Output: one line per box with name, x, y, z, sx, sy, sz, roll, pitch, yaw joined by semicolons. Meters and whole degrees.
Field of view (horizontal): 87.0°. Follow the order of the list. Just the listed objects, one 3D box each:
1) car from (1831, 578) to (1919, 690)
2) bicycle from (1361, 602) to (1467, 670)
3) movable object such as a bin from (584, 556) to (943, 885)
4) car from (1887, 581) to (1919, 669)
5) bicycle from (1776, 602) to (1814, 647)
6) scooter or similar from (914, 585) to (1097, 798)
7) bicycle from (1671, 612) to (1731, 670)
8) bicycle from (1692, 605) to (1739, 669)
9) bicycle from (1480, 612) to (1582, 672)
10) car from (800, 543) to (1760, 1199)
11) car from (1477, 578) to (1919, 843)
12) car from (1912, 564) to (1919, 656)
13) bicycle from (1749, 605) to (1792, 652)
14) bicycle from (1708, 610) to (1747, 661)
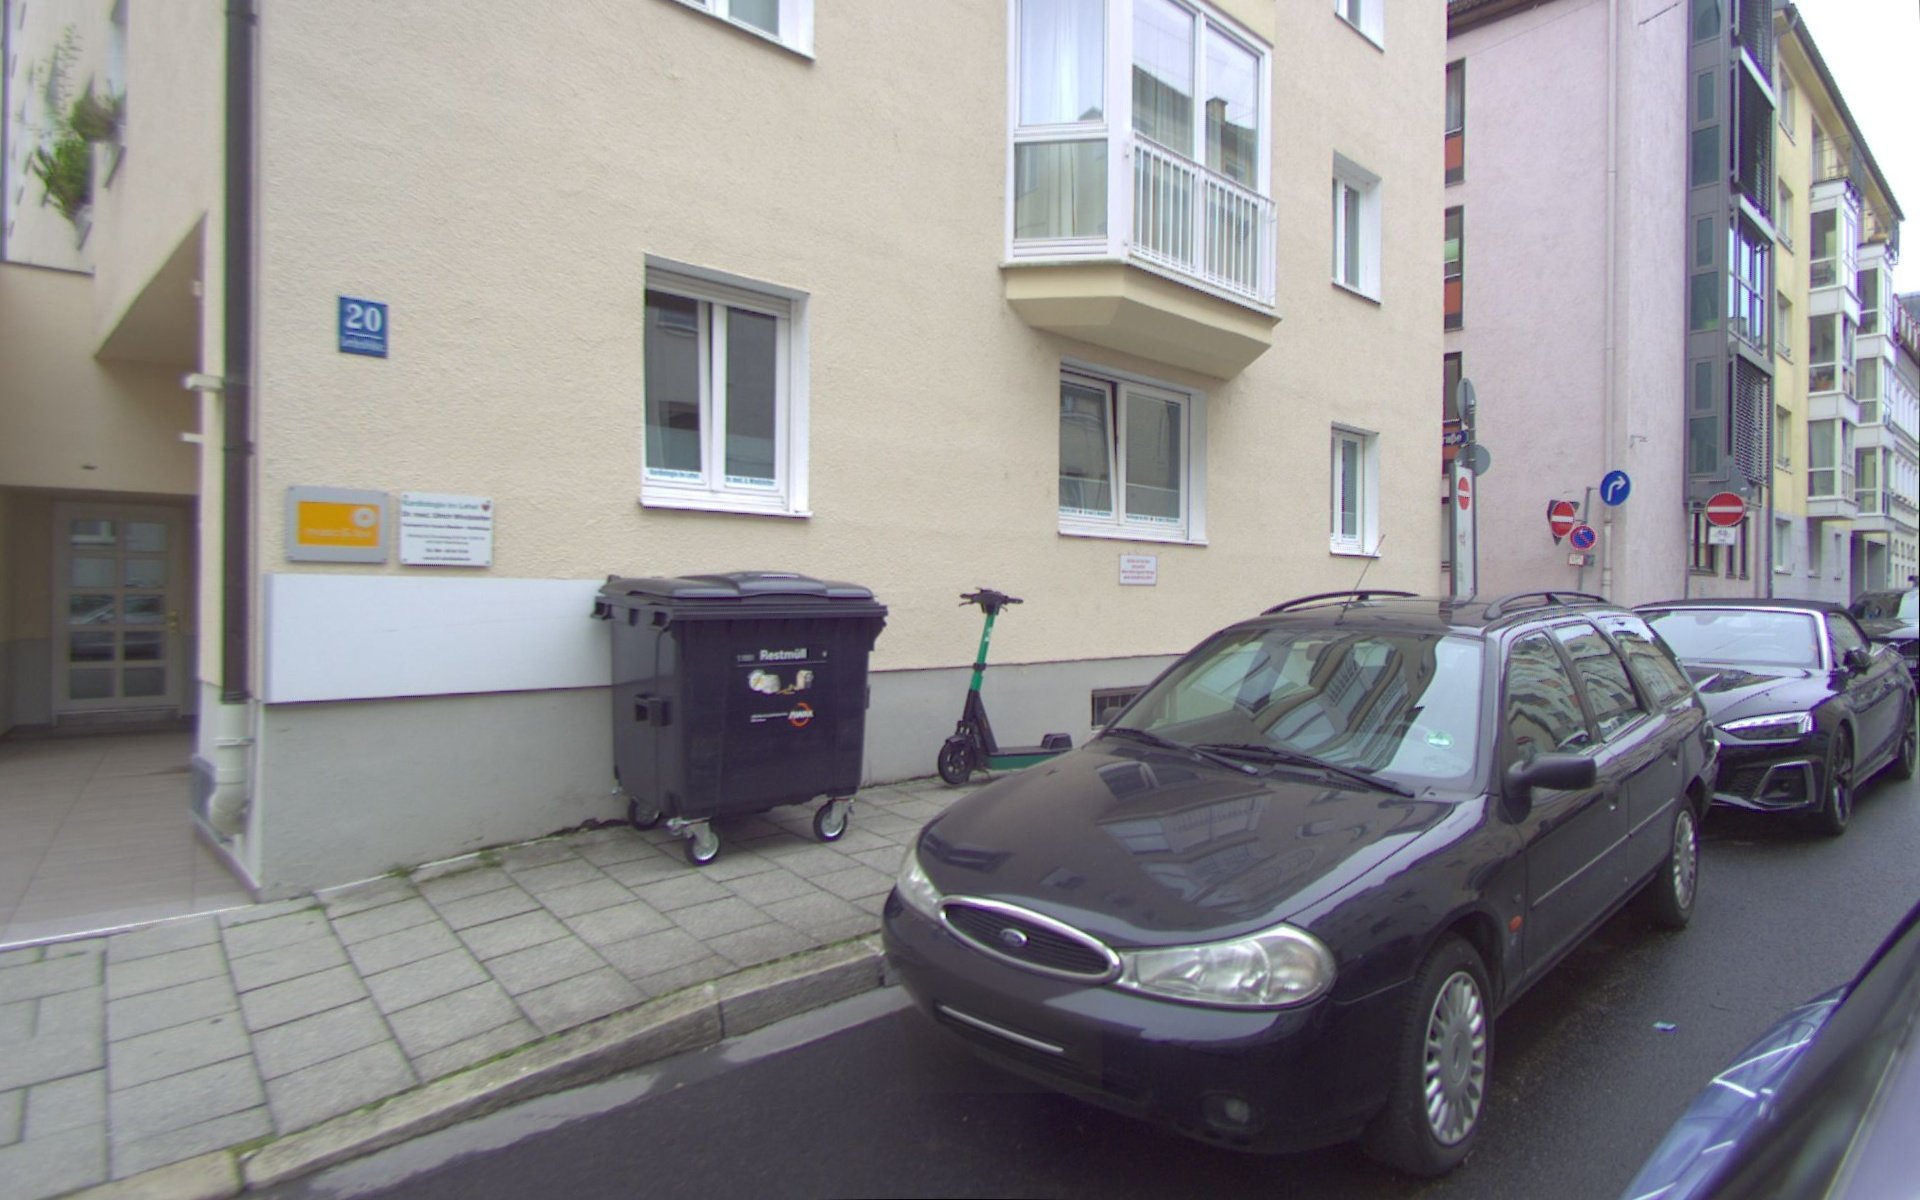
car;15.573;0.467;16.235;4.335;1.642;1.835;-1;0;-42
bicycle;8.440;0.643;18.854;0.543;1.194;1.732;0;0;-44
movable object such as a bin;-1.023;0.504;5.353;1.559;1.440;1.034;-1;3;-41
car;19.692;0.434;19.813;4.249;1.642;1.835;-1;0;-42
bicycle;18.902;0.547;22.900;1.421;0.988;0.422;0;0;-40
scooter or similar;0.317;0.549;6.748;1.117;1.282;0.577;-1;2;-41
bicycle;12.922;0.692;17.631;1.333;0.959;0.551;0;0;-40
bicycle;13.933;0.656;18.656;1.515;1.136;0.357;0;0;-40
bicycle;9.850;0.709;17.486;0.543;0.959;1.448;0;0;-45
car;1.708;0.621;4.048;4.456;1.490;1.718;-1;0;-44
car;5.758;0.576;7.544;4.333;1.424;1.836;-1;0;-40
car;23.546;0.162;23.335;5.019;2.039;1.875;-1;0;-42
bicycle;17.483;0.602;21.827;1.548;0.959;0.442;0;0;-40
bicycle;15.029;0.682;19.811;1.247;0.959;0.357;0;0;-40
